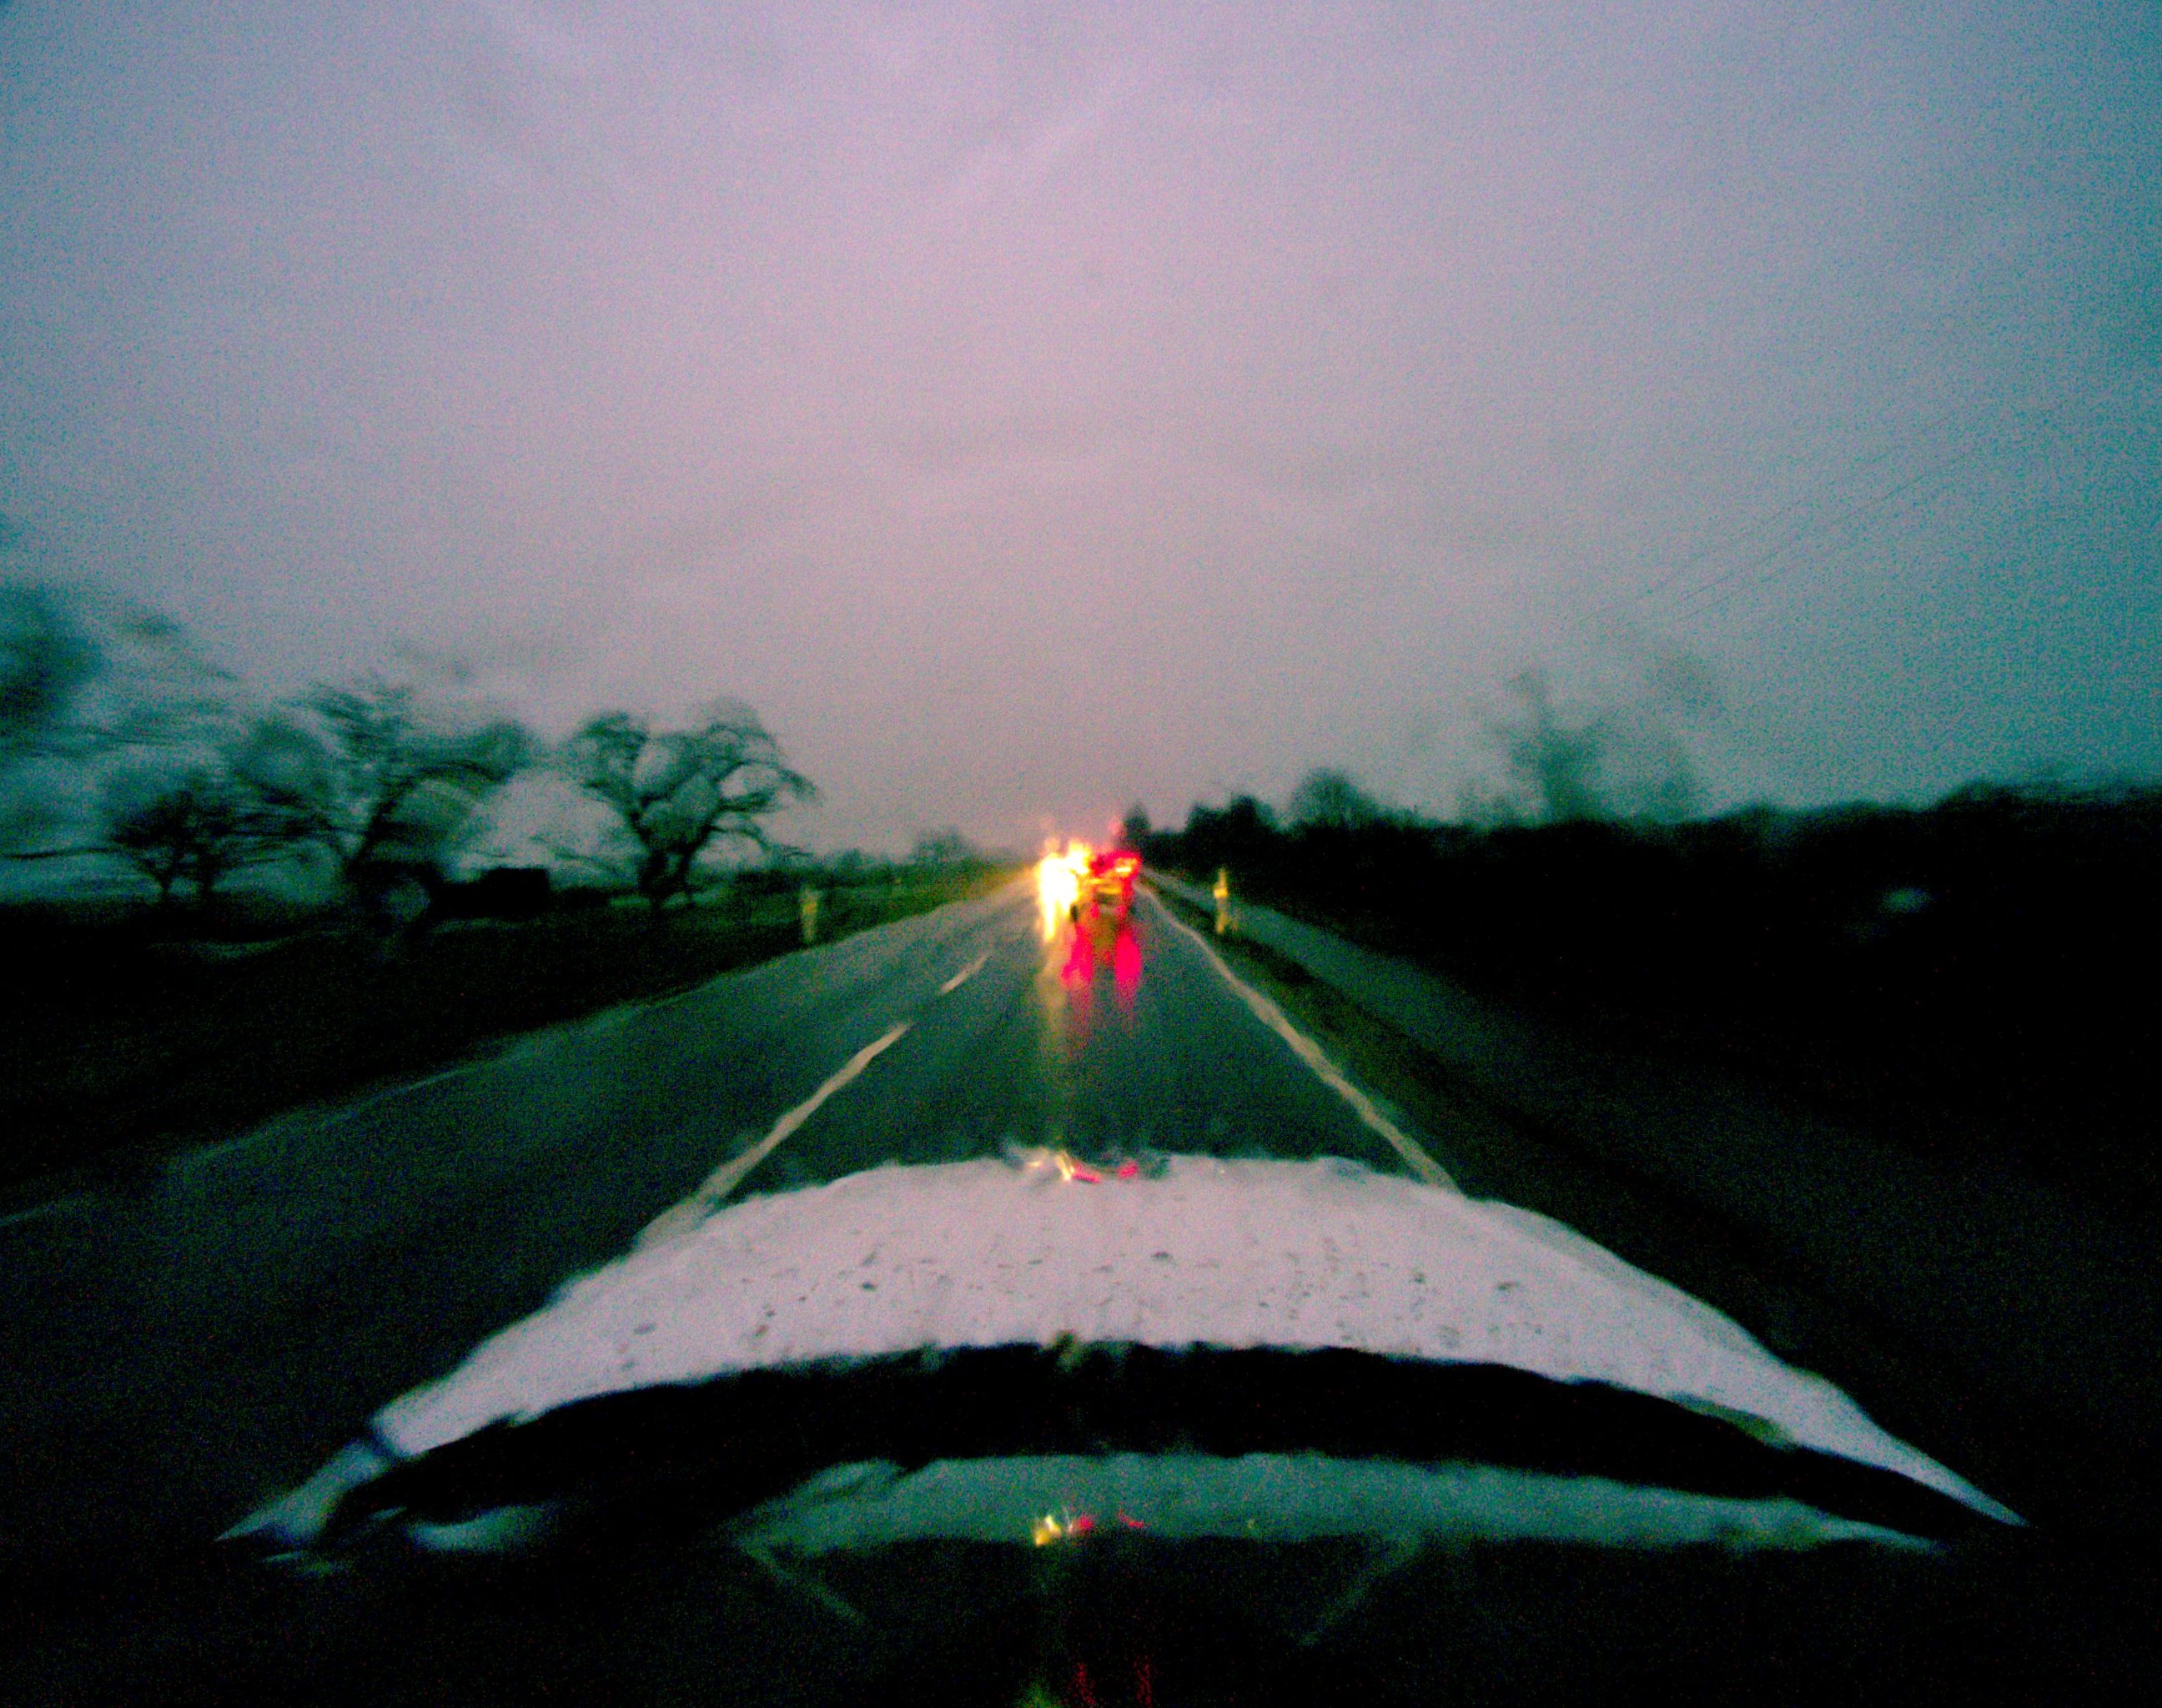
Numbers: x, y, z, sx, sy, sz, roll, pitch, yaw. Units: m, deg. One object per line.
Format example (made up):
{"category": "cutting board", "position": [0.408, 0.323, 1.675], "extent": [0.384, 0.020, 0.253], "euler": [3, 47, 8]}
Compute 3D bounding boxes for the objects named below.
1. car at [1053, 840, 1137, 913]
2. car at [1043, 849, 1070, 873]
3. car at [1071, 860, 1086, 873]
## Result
{"category": "car", "position": [0.443, 0.561, 23.161], "extent": [2.112, 1.820, 4.982], "euler": [-1, 0, 2]}
{"category": "car", "position": [-1.940, 0.531, 65.989], "extent": [1.818, 1.806, 4.495], "euler": [-3, 0, 1]}
{"category": "car", "position": [-0.312, 1.519, 101.621], "extent": [1.682, 1.479, 3.775], "euler": [-3, 0, 2]}
